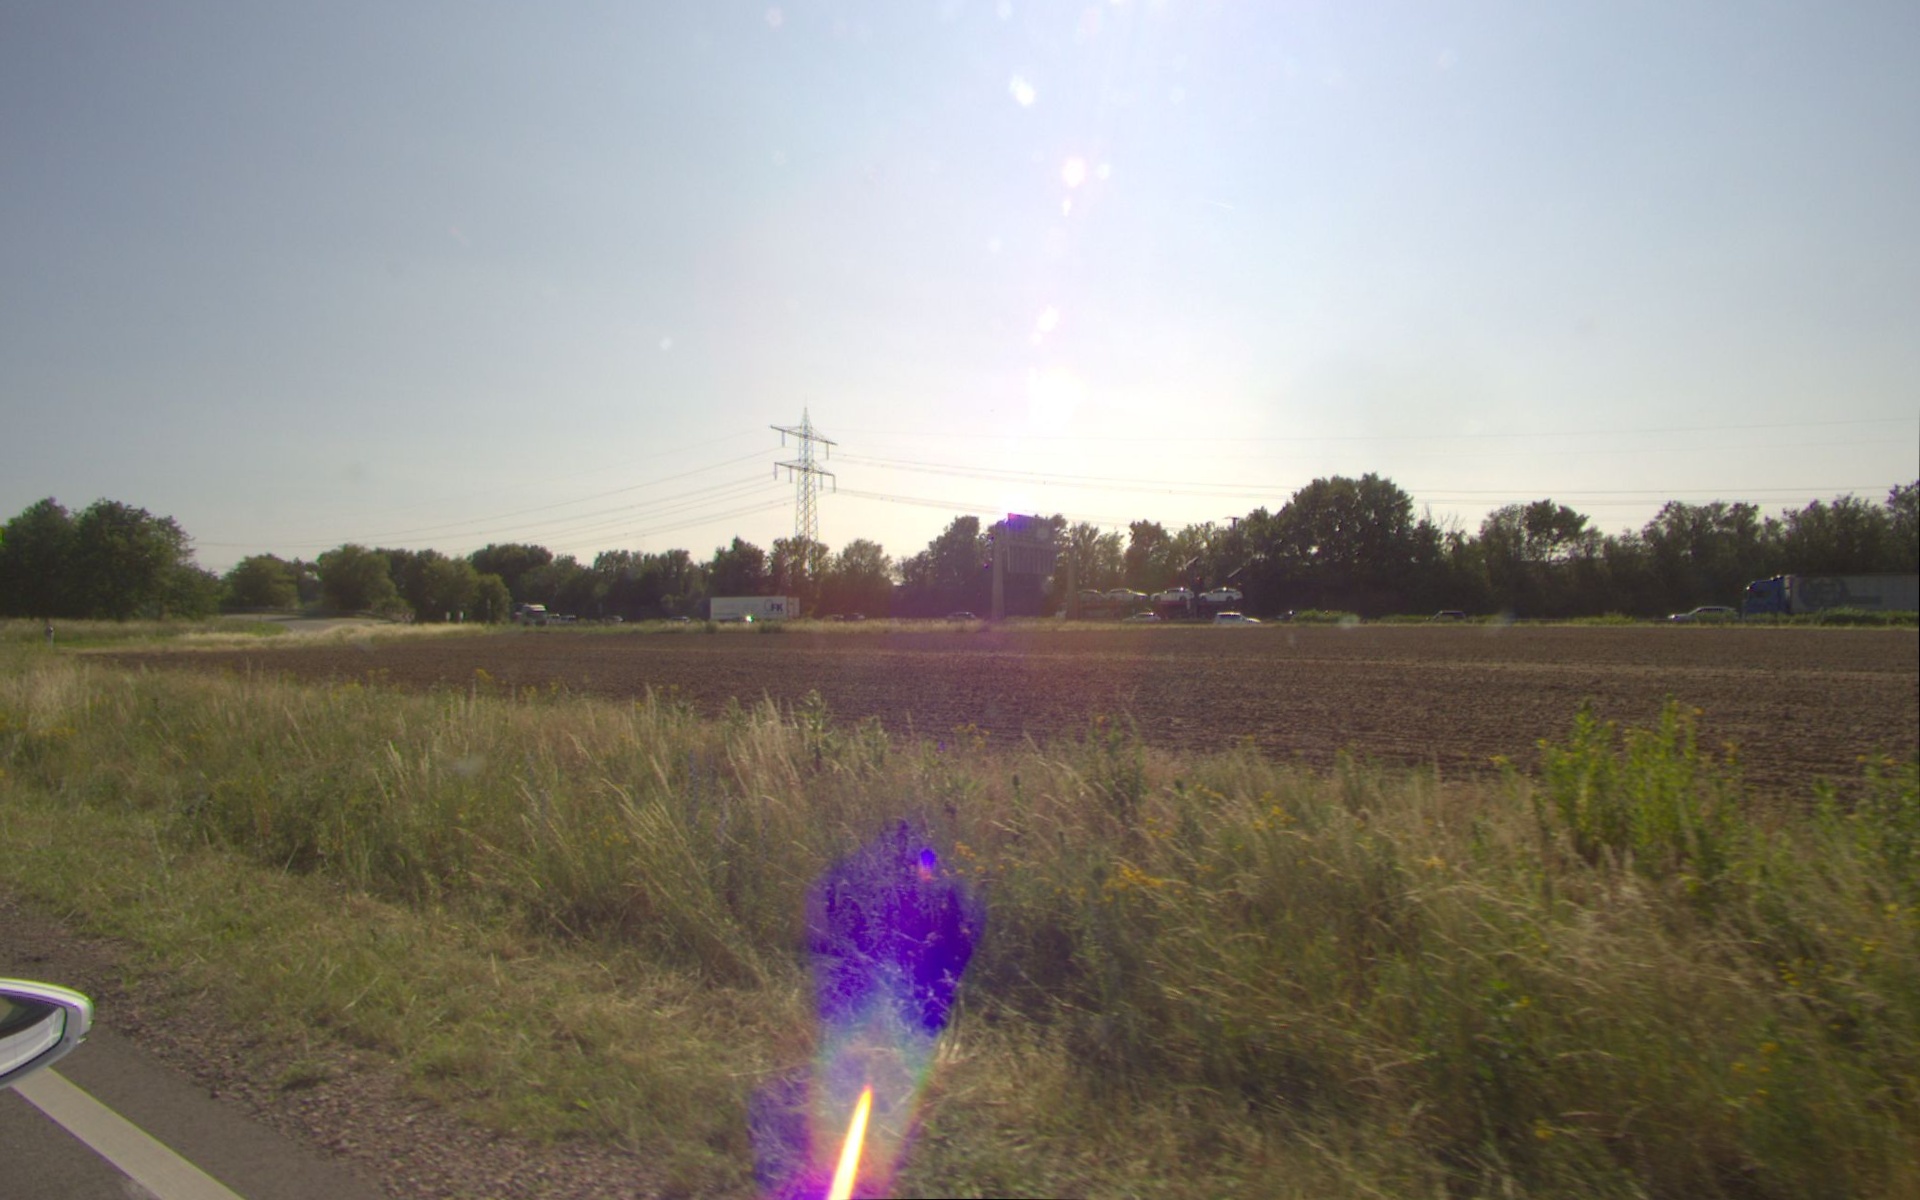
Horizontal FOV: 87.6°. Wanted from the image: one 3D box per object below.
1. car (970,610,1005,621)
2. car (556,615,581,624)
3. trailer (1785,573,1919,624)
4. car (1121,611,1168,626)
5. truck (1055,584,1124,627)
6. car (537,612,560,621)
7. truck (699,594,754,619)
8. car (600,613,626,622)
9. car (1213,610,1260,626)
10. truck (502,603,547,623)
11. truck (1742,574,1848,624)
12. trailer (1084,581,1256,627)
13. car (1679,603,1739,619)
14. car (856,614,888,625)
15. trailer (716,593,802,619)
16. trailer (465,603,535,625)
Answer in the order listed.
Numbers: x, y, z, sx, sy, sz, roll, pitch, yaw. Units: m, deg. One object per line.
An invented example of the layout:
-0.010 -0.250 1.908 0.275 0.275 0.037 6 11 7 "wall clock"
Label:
2.955 1.684 107.509 3.527 1.166 1.393 0 -1 29 "car"
-59.099 2.933 151.068 3.572 1.390 1.769 -1 -2 32 "car"
70.622 -0.088 74.944 13.437 3.782 3.065 -1 -1 33 "trailer"
18.137 1.827 98.400 4.185 1.403 1.848 0 -1 31 "car"
14.060 0.615 108.396 6.605 4.512 3.416 -1 0 29 "truck"
-58.919 2.351 143.437 3.134 1.166 1.393 0 -1 31 "car"
-31.820 0.901 136.348 6.875 3.310 3.279 -1 0 30 "truck"
-47.268 2.395 136.483 3.527 1.166 1.393 0 -1 29 "car"
23.542 1.528 85.361 3.566 1.250 1.545 0 -3 31 "car"
-55.287 1.638 127.185 5.452 2.565 2.509 0 0 30 "truck"
65.257 -0.009 78.432 6.001 3.782 3.065 0 -1 33 "truck"
21.575 0.498 104.124 17.299 4.511 3.416 -1 0 30 "trailer"
56.190 0.837 75.185 3.530 1.166 1.392 0 -1 32 "car"
-10.151 2.273 115.476 3.527 1.166 1.393 0 -1 29 "car"
-26.839 0.827 133.420 12.271 3.310 3.279 -1 0 30 "trailer"
-73.645 2.195 160.125 13.252 3.310 3.280 0 0 30 "trailer"
